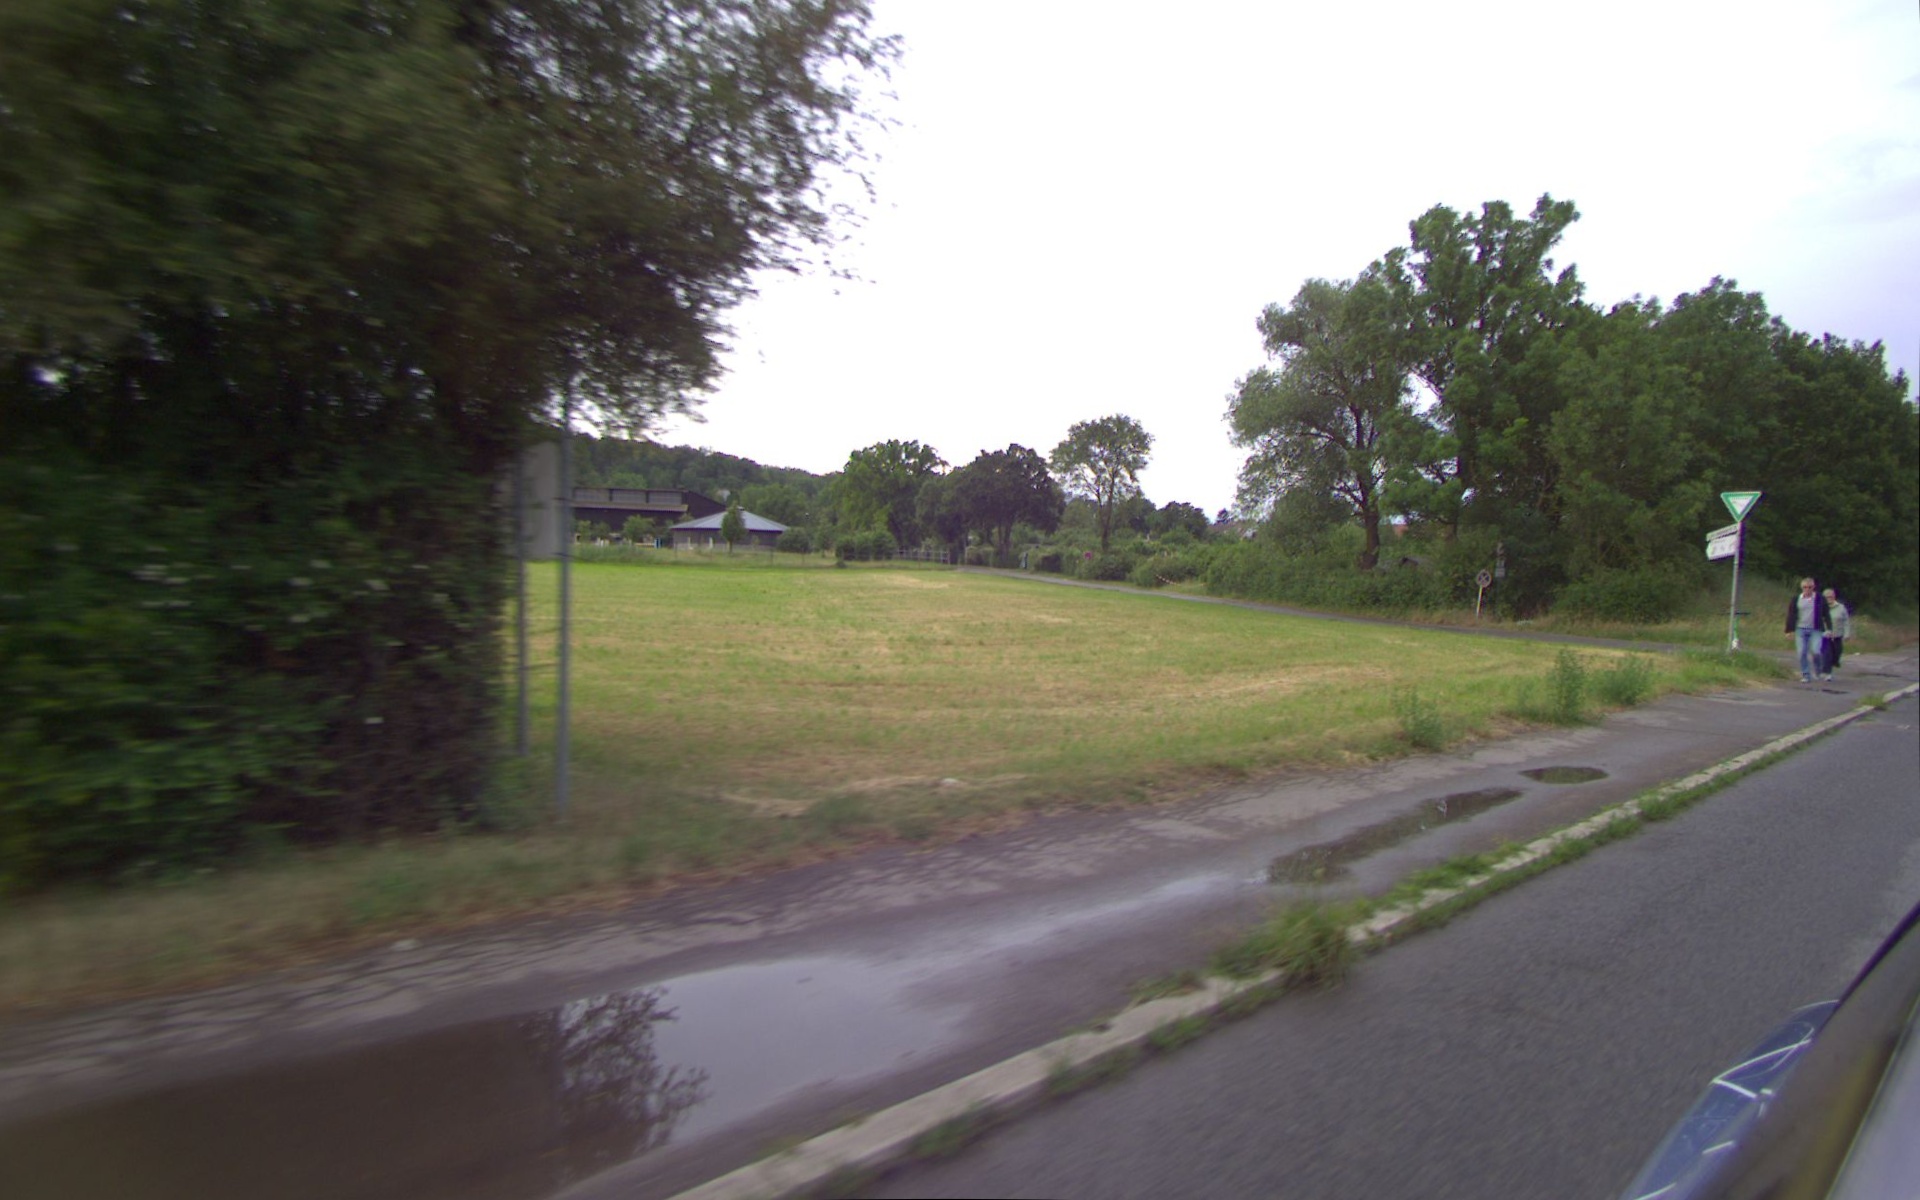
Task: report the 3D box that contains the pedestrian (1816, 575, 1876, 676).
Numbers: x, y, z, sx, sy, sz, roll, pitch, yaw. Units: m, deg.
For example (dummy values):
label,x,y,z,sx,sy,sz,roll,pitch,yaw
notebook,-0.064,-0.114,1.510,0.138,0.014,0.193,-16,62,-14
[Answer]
label,x,y,z,sx,sy,sz,roll,pitch,yaw
pedestrian,16.308,0.454,18.649,0.658,1.800,0.751,2,2,32

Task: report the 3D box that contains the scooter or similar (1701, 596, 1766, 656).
label,x,y,z,sx,sy,sz,roll,pitch,yaw
scooter or similar,16.870,0.546,22.095,0.367,1.221,1.328,1,2,0

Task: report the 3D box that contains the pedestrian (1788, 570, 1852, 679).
label,x,y,z,sx,sy,sz,roll,pitch,yaw
pedestrian,15.214,0.407,17.918,0.690,1.850,0.792,2,2,33
